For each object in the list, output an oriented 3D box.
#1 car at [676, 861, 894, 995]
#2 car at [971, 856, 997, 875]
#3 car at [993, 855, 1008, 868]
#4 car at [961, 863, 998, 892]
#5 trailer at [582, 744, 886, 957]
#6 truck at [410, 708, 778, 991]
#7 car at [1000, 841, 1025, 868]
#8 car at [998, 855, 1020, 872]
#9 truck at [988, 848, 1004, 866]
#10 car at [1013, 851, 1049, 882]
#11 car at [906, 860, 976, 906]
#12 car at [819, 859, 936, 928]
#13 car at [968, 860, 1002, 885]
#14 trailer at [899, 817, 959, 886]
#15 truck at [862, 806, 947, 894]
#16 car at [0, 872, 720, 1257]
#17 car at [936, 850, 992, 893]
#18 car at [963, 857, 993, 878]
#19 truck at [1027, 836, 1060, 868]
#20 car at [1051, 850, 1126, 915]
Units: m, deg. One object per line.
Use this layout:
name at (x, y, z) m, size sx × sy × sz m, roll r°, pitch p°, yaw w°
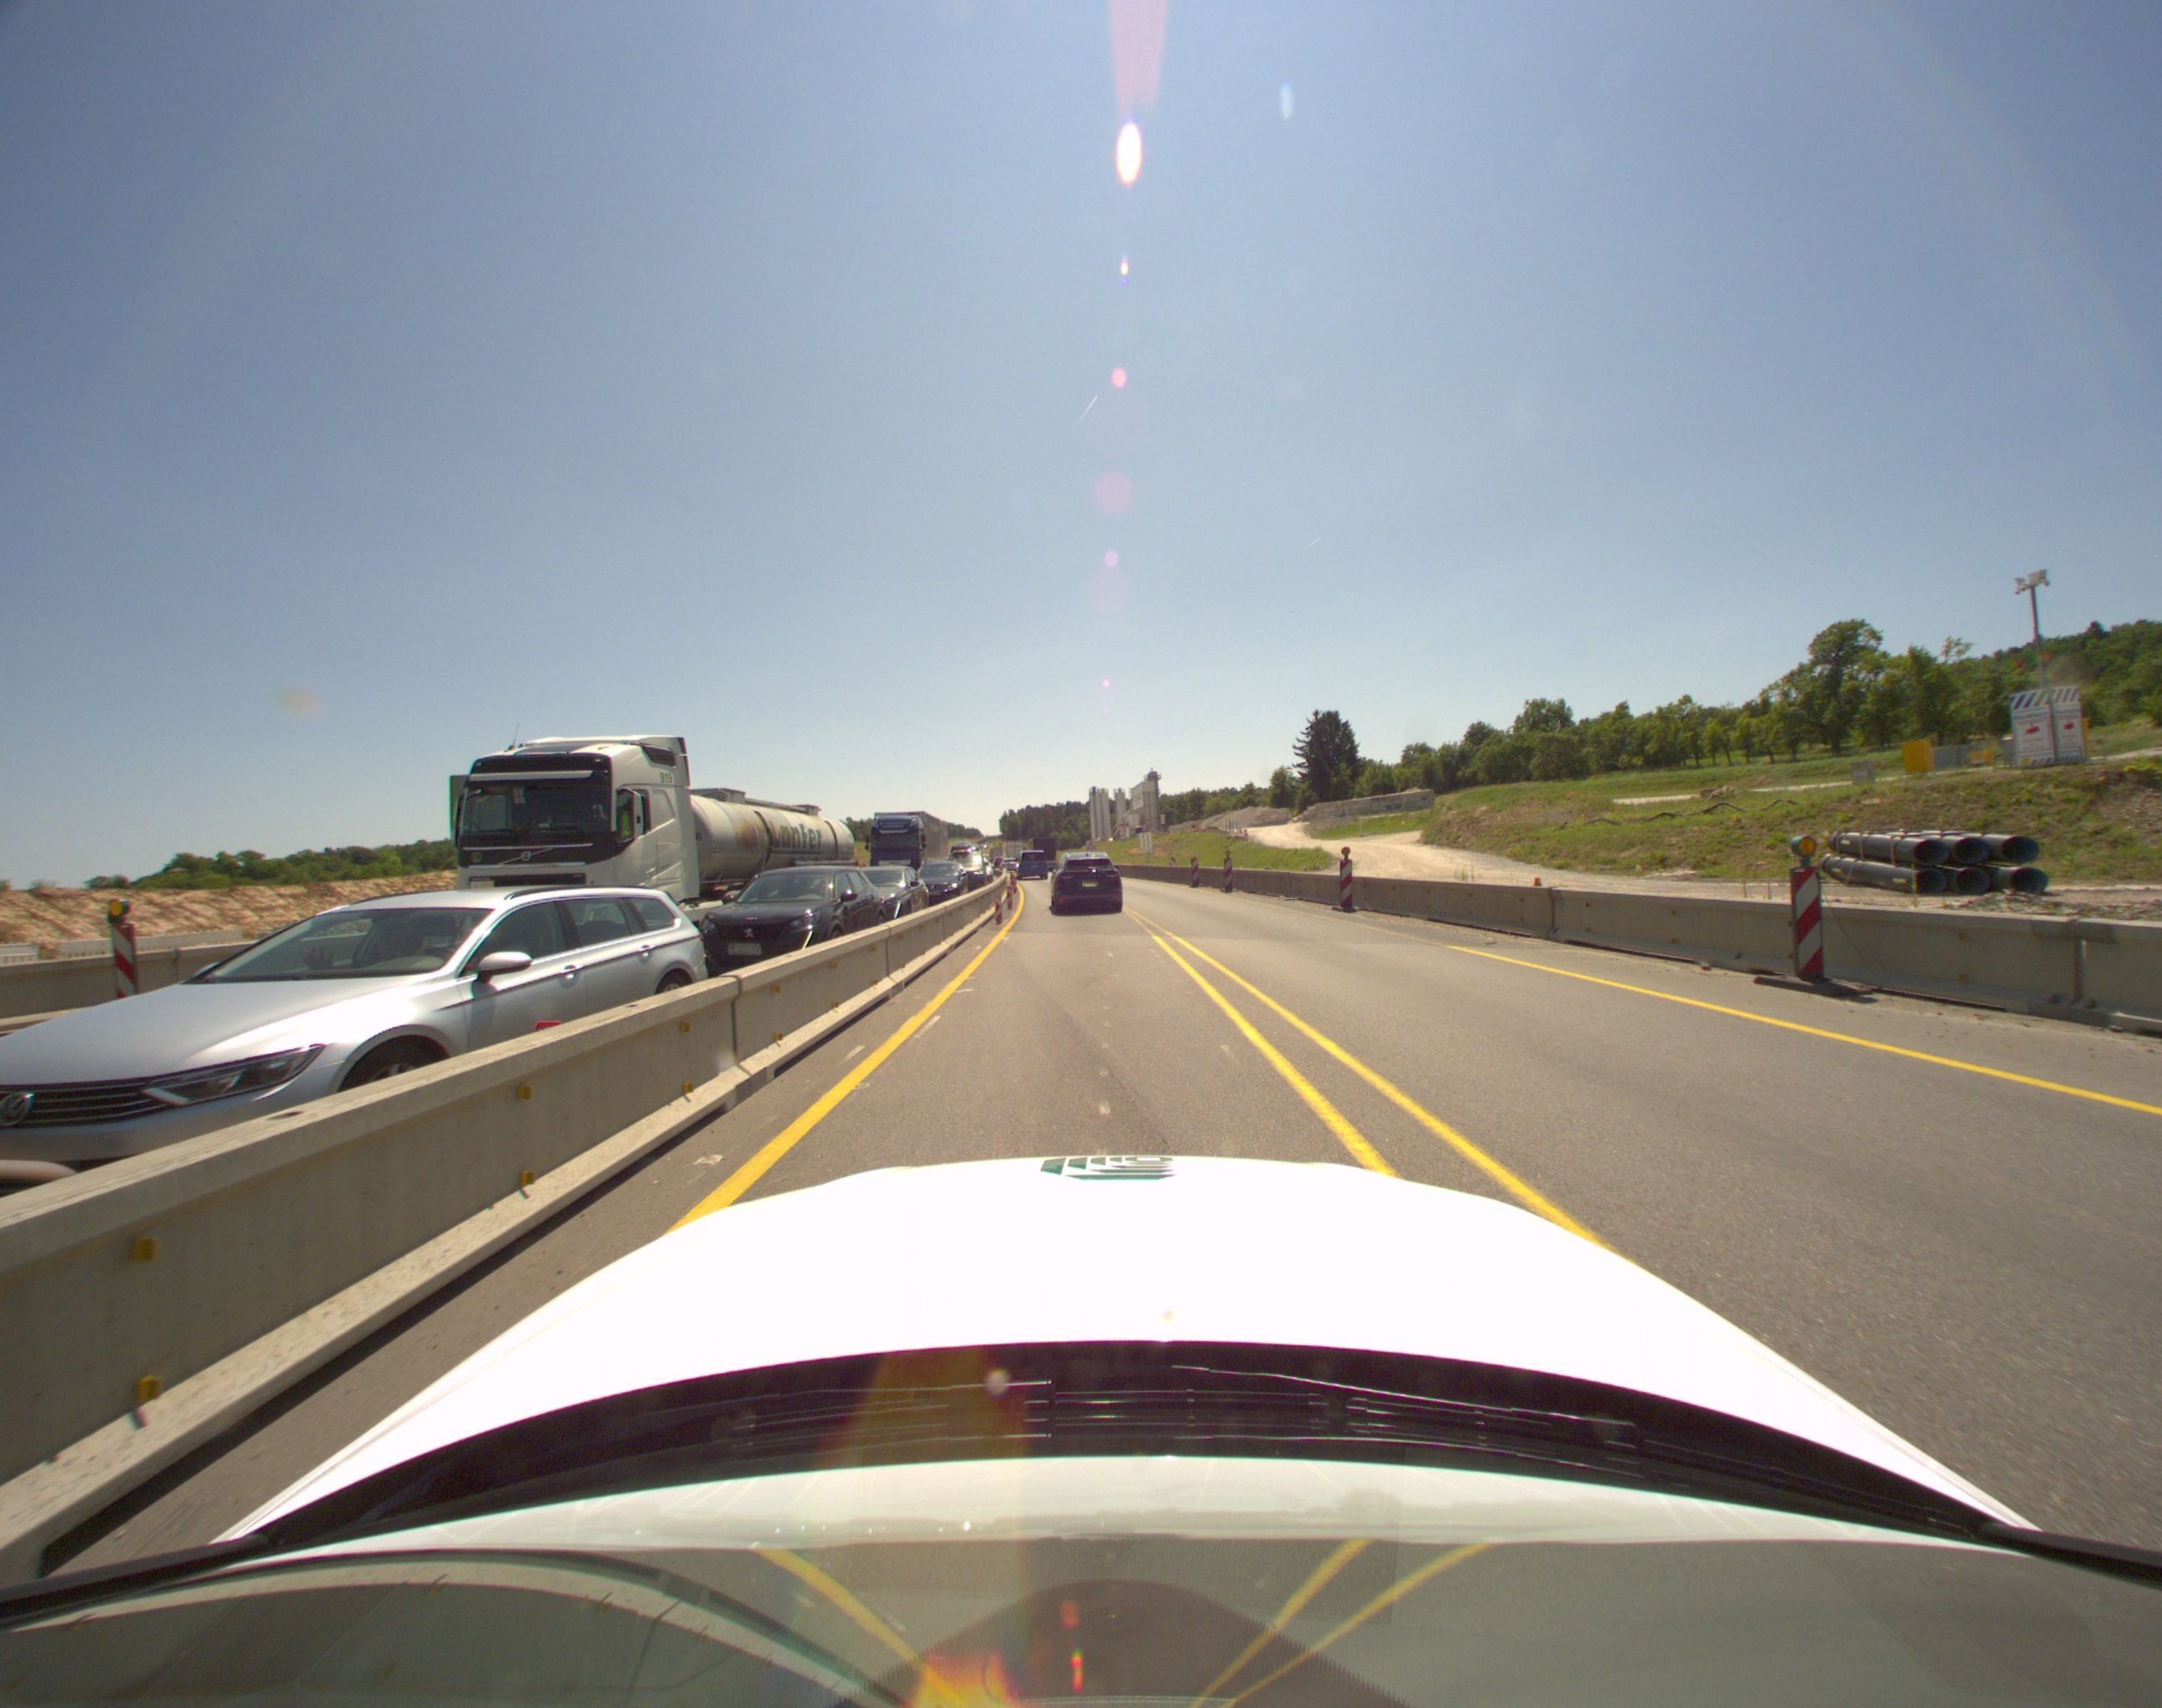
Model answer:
car at (-4.137, 0.936, 12.144) m, size 1.672 × 1.544 × 4.117 m, roll -3°, pitch 0°, yaw 0°
car at (-8.535, 0.976, 72.121) m, size 2.042 × 1.526 × 5.058 m, roll -3°, pitch 0°, yaw -4°
car at (-10.570, 0.968, 106.437) m, size 1.819 × 1.644 × 3.857 m, roll -3°, pitch 0°, yaw -6°
car at (-5.843, 1.313, 47.144) m, size 1.992 × 1.530 × 4.049 m, roll -3°, pitch 0°, yaw -7°
trailer at (-8.048, -0.094, 21.339) m, size 2.695 × 3.977 × 11.247 m, roll -3°, pitch 0°, yaw 1°
truck at (-8.224, -0.079, 14.913) m, size 2.690 × 3.969 × 6.200 m, roll -3°, pitch 0°, yaw 1°
car at (-10.917, -0.013, 128.733) m, size 3.435 × 4.101 × 9.171 m, roll 0°, pitch 0°, yaw -8°
car at (-7.342, 0.977, 82.461) m, size 2.043 × 1.526 × 5.054 m, roll -5°, pitch 0°, yaw -6°
truck at (-21.053, 0.722, 201.986) m, size 3.473 × 4.220 × 10.350 m, roll -3°, pitch 0°, yaw -7°
car at (-3.332, 0.778, 53.607) m, size 1.993 × 1.844 × 3.988 m, roll -3°, pitch 0°, yaw -8°
car at (-4.934, 0.972, 29.299) m, size 1.730 × 1.446 × 4.794 m, roll -3°, pitch 0°, yaw -2°
car at (-4.836, 0.867, 20.035) m, size 1.730 × 1.416 × 4.794 m, roll -3°, pitch 0°, yaw -2°
car at (-6.580, 1.235, 56.210) m, size 2.042 × 1.526 × 5.058 m, roll -3°, pitch 0°, yaw -4°
trailer at (-10.035, -0.186, 54.564) m, size 2.731 × 4.137 × 8.175 m, roll -3°, pitch 0°, yaw -3°
truck at (-9.469, -0.183, 45.098) m, size 2.767 × 4.137 × 10.856 m, roll -3°, pitch 0°, yaw -3°
car at (-4.423, 0.935, 5.624) m, size 1.672 × 1.444 × 4.555 m, roll -3°, pitch 0°, yaw 1°
car at (-5.368, 0.747, 37.919) m, size 2.041 × 1.777 × 5.060 m, roll -2°, pitch 0°, yaw -3°
car at (-8.275, 1.060, 65.933) m, size 2.042 × 1.526 × 5.058 m, roll -3°, pitch 0°, yaw -4°
truck at (-3.765, -0.185, 81.672) m, size 2.671 × 2.945 × 5.606 m, roll -5°, pitch 0°, yaw -7°
car at (0.110, 0.730, 22.859) m, size 1.838 × 1.582 × 3.996 m, roll -3°, pitch 0°, yaw -3°
